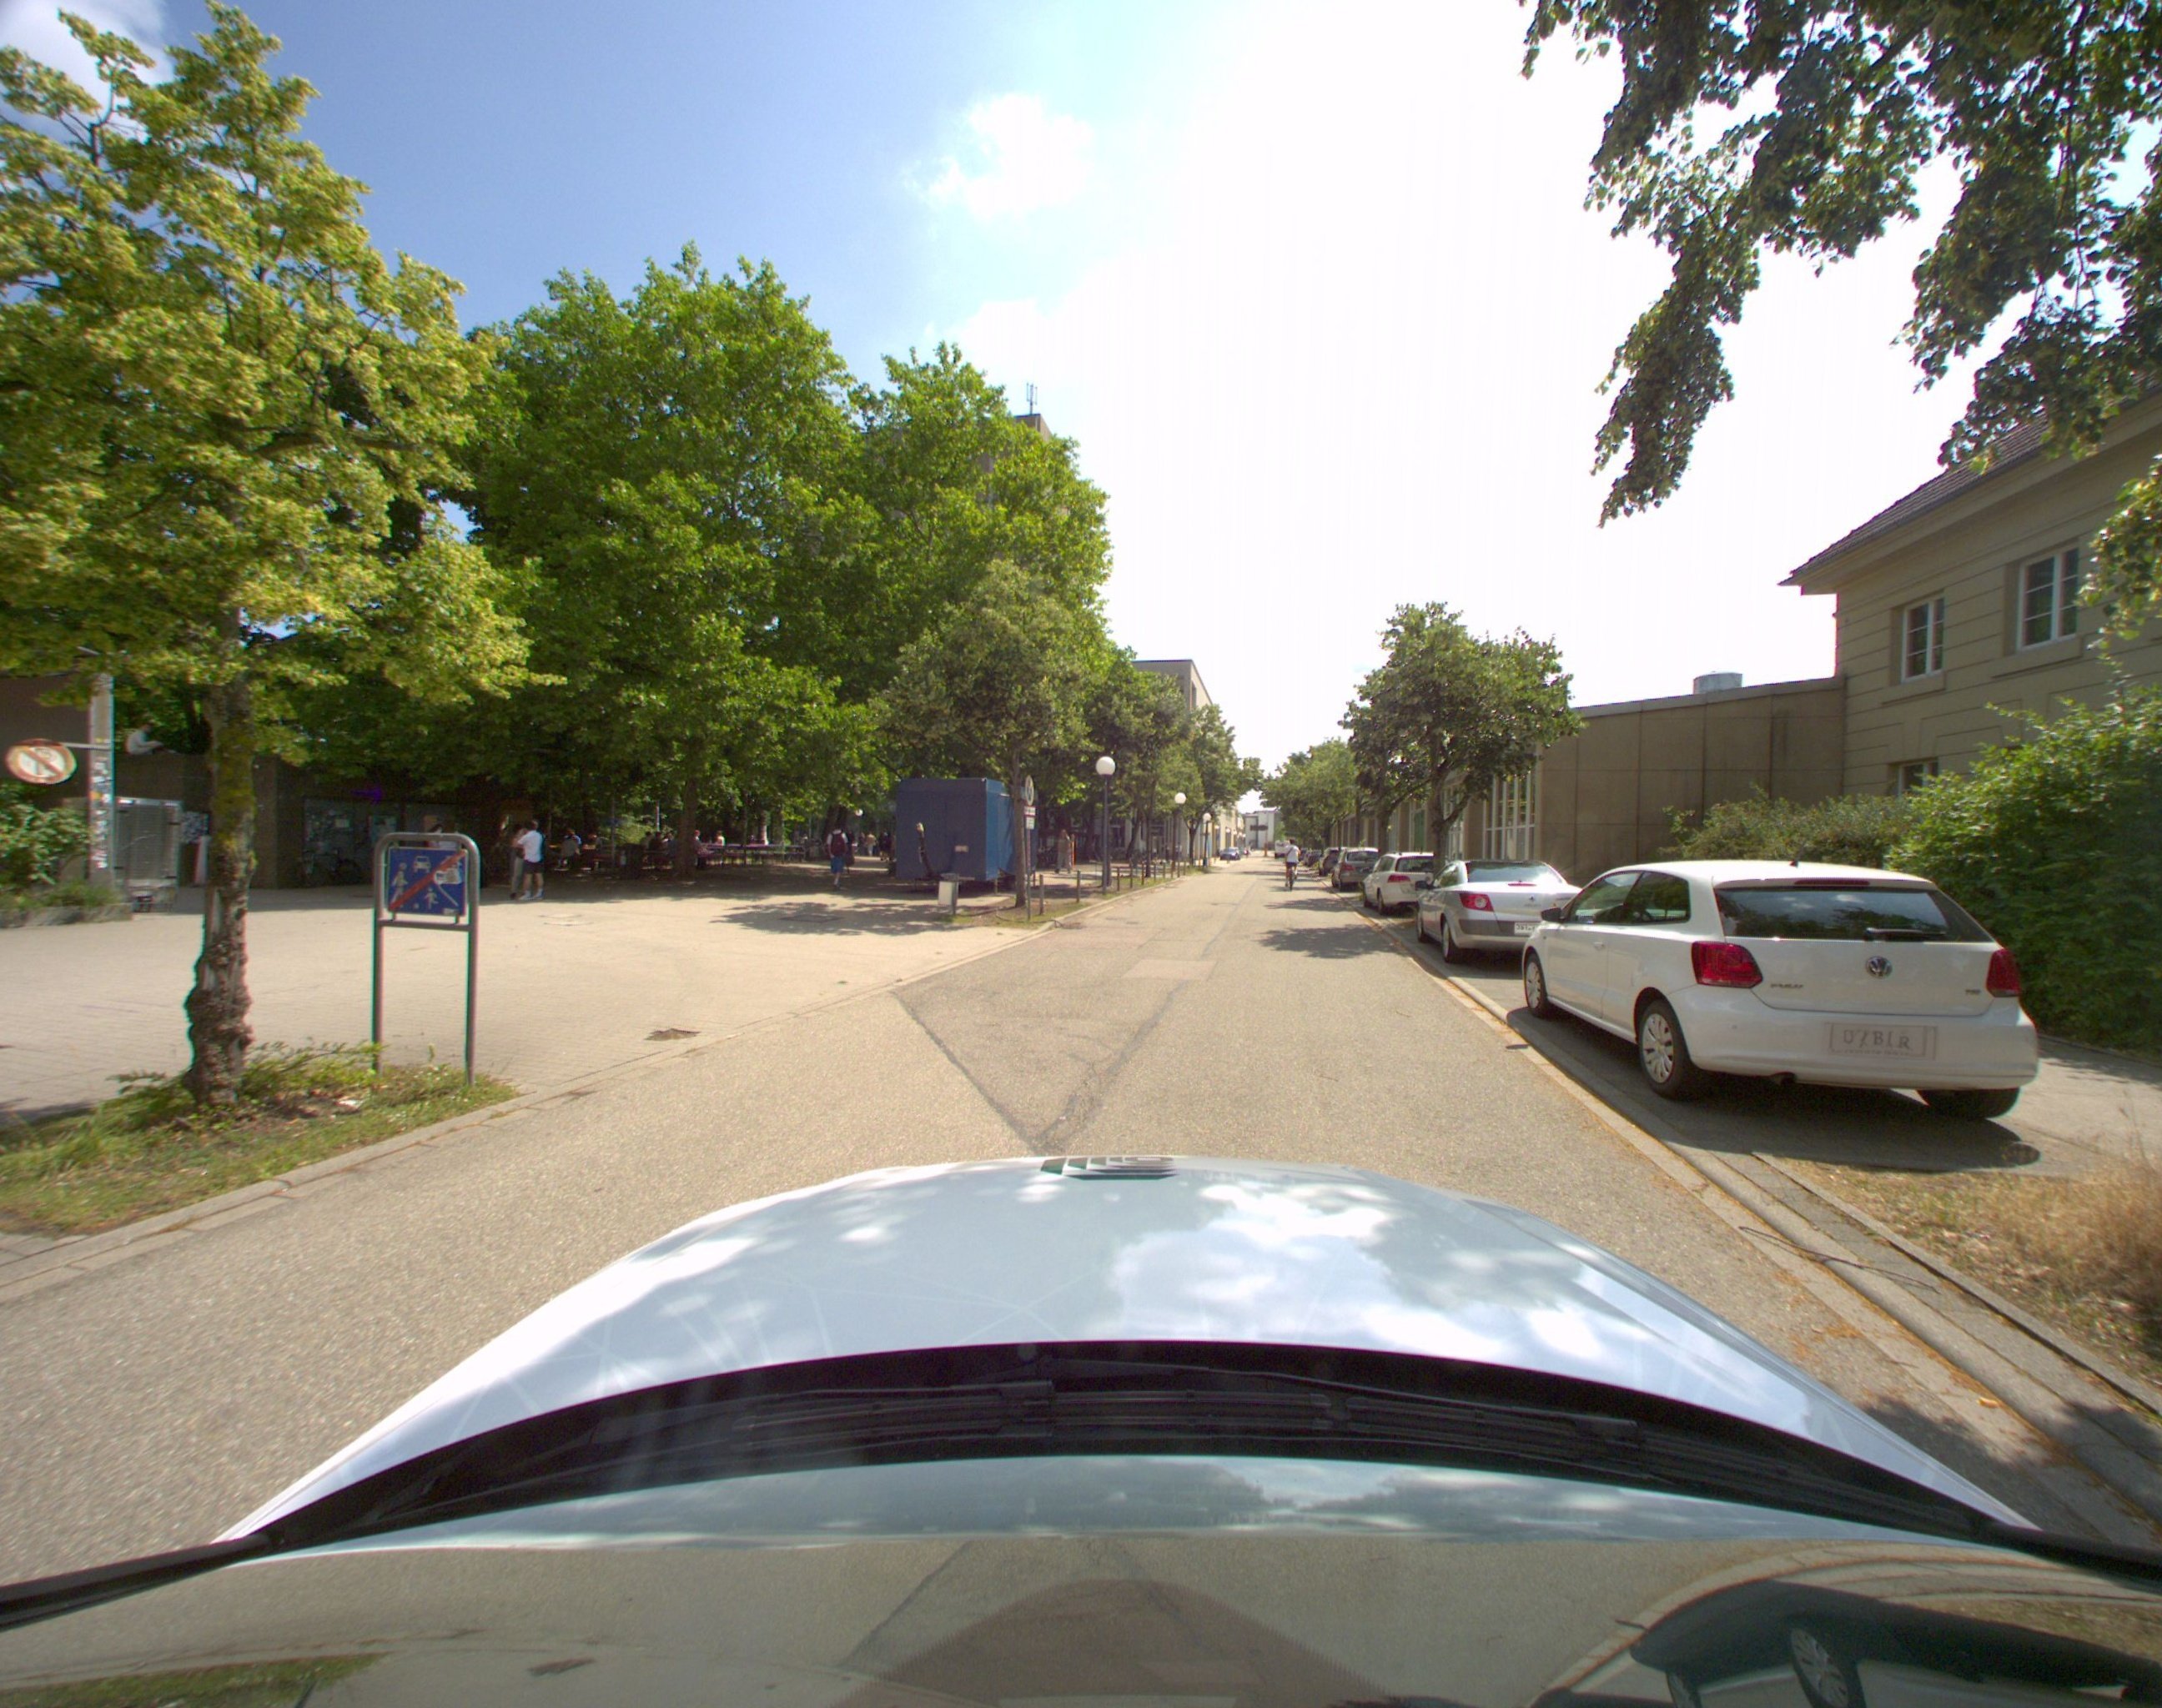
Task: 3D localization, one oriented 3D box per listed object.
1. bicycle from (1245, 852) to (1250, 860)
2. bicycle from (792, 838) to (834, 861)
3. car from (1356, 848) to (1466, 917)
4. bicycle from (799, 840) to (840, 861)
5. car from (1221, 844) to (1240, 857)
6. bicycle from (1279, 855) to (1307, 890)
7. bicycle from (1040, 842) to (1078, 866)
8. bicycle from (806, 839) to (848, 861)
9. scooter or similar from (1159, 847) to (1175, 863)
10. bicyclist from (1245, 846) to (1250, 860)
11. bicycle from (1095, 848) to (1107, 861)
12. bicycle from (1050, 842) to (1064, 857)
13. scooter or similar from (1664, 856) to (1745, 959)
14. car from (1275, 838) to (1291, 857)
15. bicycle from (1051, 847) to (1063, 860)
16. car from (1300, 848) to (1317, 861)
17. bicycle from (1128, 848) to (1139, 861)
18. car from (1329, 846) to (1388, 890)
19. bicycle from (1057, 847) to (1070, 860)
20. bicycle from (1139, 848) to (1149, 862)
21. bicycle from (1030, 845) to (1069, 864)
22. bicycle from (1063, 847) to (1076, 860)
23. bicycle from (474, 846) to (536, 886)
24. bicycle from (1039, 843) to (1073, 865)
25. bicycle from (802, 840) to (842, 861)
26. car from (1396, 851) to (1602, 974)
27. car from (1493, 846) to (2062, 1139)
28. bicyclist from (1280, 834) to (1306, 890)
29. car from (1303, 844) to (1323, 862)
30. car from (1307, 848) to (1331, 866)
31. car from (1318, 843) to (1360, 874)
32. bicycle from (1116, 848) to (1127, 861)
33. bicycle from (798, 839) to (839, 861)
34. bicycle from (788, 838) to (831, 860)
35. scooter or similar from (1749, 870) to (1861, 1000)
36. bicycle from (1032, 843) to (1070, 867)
[{"bbox_3d":[24.462,0.269,119.937,0.680,1.129,1.895,1,1,12],"label":"bicycle"},{"bbox_3d":[-13.747,-0.240,41.795,1.998,1.118,0.585,1,1,4],"label":"bicycle"},{"bbox_3d":[7.913,0.600,19.952,1.714,1.467,4.687,0,1,12],"label":"car"},{"bbox_3d":[-14.172,-0.200,44.154,1.998,1.118,0.585,1,1,4],"label":"bicycle"},{"bbox_3d":[17.266,-0.363,94.077,1.753,1.427,4.252,2,0,15],"label":"car"},{"bbox_3d":[7.951,0.677,30.569,0.876,1.199,2.759,2,1,12],"label":"bicycle"},{"bbox_3d":[-1.255,-0.004,46.123,2.050,1.234,0.808,3,1,-4],"label":"bicycle"},{"bbox_3d":[-13.256,-0.218,42.528,1.998,1.118,0.585,1,1,4],"label":"bicycle"},{"bbox_3d":[6.690,0.092,63.325,1.335,1.175,0.336,1,1,-42],"label":"scooter or similar"},{"bbox_3d":[24.474,-0.157,119.945,0.707,2.013,1.022,0,0,11],"label":"bicyclist"},{"bbox_3d":[1.754,0.019,70.561,0.548,1.086,1.980,3,1,14],"label":"bicycle"},{"bbox_3d":[-2.079,-0.409,70.969,0.521,1.253,2.391,1,1,15],"label":"bicycle"},{"bbox_3d":[8.436,0.684,11.007,1.272,1.266,0.590,-2,2,-40],"label":"scooter or similar"},{"bbox_3d":[27.474,-0.884,110.898,2.069,2.539,4.331,2,1,13],"label":"car"},{"bbox_3d":[-2.111,-0.042,71.460,0.548,1.086,1.980,3,1,14],"label":"bicycle"},{"bbox_3d":[26.981,0.022,96.771,1.845,1.574,4.015,0,0,14],"label":"car"},{"bbox_3d":[4.514,0.064,70.025,0.548,1.086,1.980,3,1,14],"label":"bicycle"},{"bbox_3d":[10.542,0.488,31.164,1.693,1.574,4.154,0,0,12],"label":"car"},{"bbox_3d":[-1.514,-0.032,71.347,0.548,1.086,1.980,3,1,14],"label":"bicycle"},{"bbox_3d":[5.388,0.074,69.620,0.548,1.086,1.980,3,1,14],"label":"bicycle"},{"bbox_3d":[-1.849,0.043,47.440,2.151,1.008,0.674,2,1,-17],"label":"bicycle"},{"bbox_3d":[-0.991,-0.027,71.063,0.548,1.086,1.980,3,1,14],"label":"bicycle"},{"bbox_3d":[-16.060,0.350,22.742,1.354,1.077,0.413,2,-2,-30],"label":"bicycle"},{"bbox_3d":[-1.361,-0.017,43.535,1.770,1.131,0.458,2,1,-4],"label":"bicycle"},{"bbox_3d":[-14.302,-0.183,44.974,1.998,1.118,0.585,1,1,4],"label":"bicycle"},{"bbox_3d":[5.786,0.687,11.802,1.635,1.390,4.002,0,1,11],"label":"car"},{"bbox_3d":[4.612,0.705,6.253,1.577,1.466,4.001,1,0,11],"label":"car"},{"bbox_3d":[7.947,0.292,30.532,0.867,2.013,0.852,2,0,12],"label":"bicyclist"},{"bbox_3d":[21.310,-0.103,74.813,1.605,1.538,3.794,1,1,14],"label":"car"},{"bbox_3d":[20.202,0.232,69.360,1.768,1.476,4.478,0,0,14],"label":"car"},{"bbox_3d":[14.554,0.278,46.191,1.810,1.664,4.599,0,-1,12],"label":"car"},{"bbox_3d":[3.508,0.055,70.567,0.548,1.086,1.980,3,1,14],"label":"bicycle"},{"bbox_3d":[-13.961,-0.213,43.356,1.998,1.118,0.585,1,1,4],"label":"bicycle"},{"bbox_3d":[-13.651,-0.255,40.955,1.998,1.118,0.585,1,1,4],"label":"bicycle"},{"bbox_3d":[7.572,0.802,8.567,0.515,1.221,1.243,0,0,24],"label":"scooter or similar"},{"bbox_3d":[-1.662,0.033,45.067,2.050,1.234,0.808,2,1,-4],"label":"bicycle"}]
